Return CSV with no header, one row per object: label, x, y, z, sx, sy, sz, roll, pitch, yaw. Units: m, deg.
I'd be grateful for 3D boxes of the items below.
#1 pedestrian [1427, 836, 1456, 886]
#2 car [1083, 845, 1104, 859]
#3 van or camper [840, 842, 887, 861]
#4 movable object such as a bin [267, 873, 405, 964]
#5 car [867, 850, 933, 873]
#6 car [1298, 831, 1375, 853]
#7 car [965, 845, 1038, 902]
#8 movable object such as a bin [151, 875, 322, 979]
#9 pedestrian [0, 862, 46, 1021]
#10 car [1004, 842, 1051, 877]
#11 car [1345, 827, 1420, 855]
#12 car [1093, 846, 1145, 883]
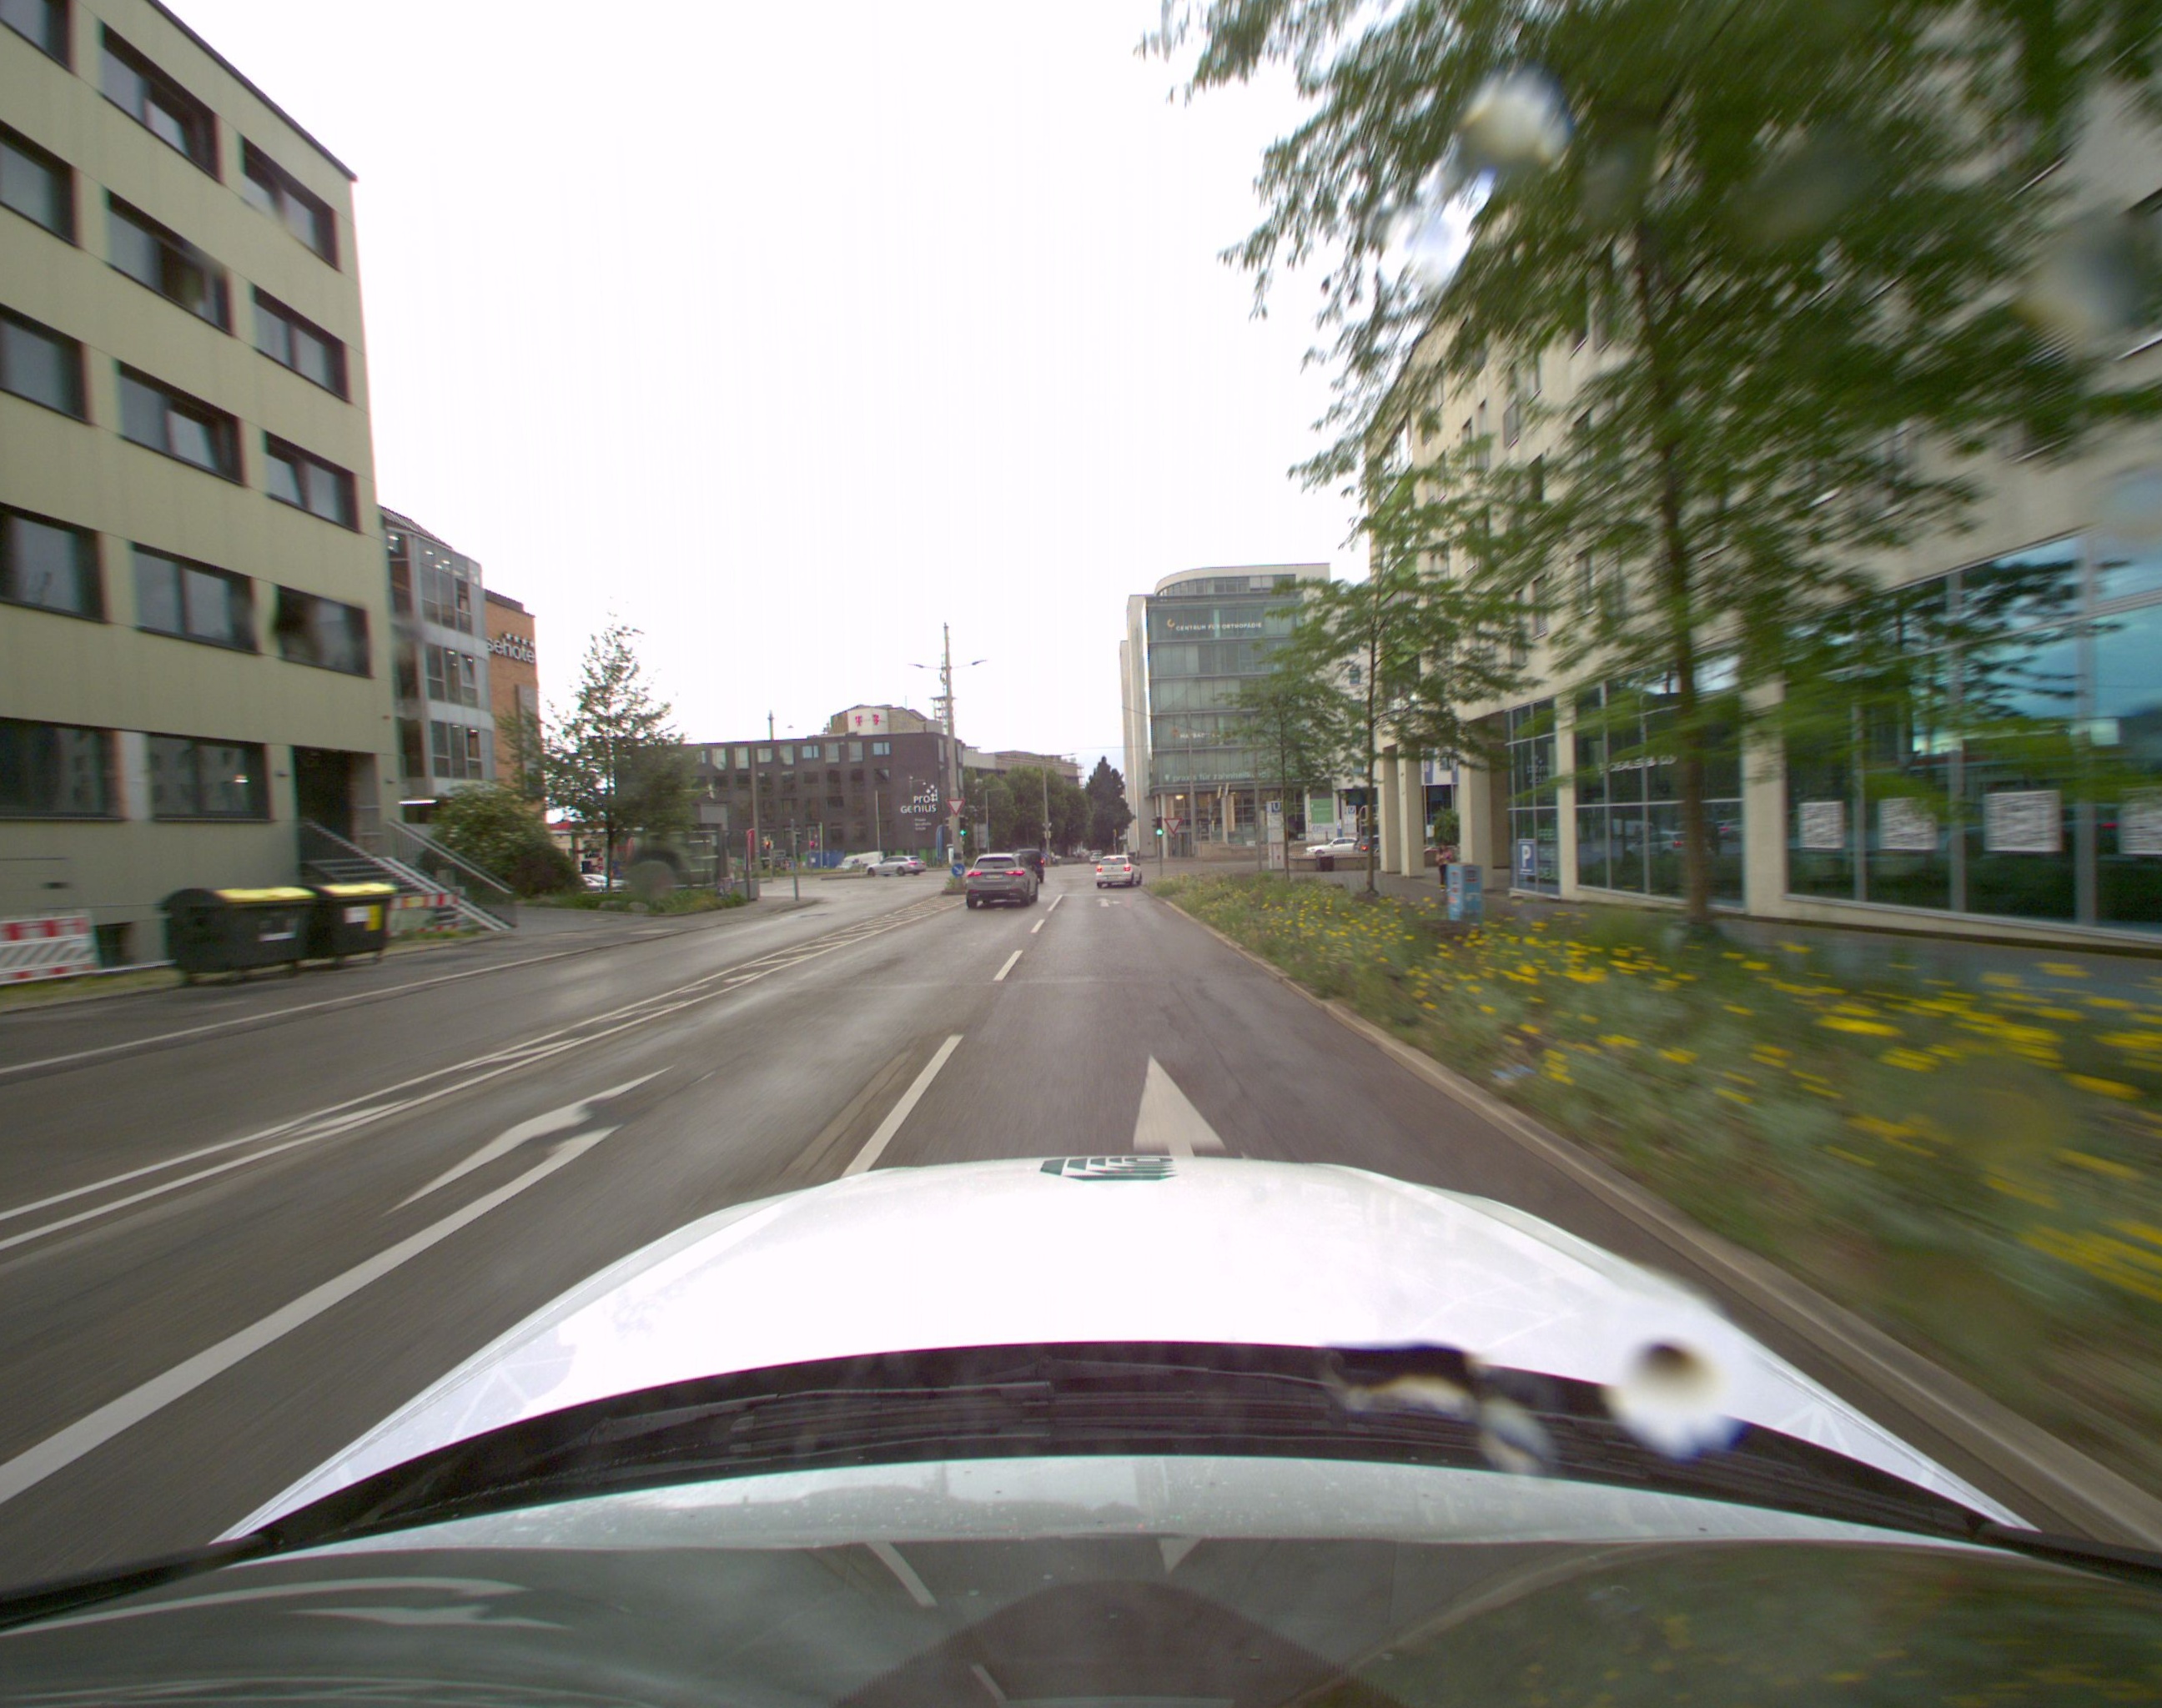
pedestrian,12.646,0.242,28.598,0.865,1.712,1.094,0,1,21
car,1.588,-0.236,104.050,1.993,1.717,3.987,0,0,-9
van or camper,-28.209,-0.352,105.733,5.313,2.369,2.738,0,-1,0
movable object such as a bin,-12.669,1.056,13.907,1.050,1.445,1.359,0,-1,3
car,-13.155,0.526,59.227,4.435,1.579,2.012,0,0,28
car,18.326,-0.855,58.456,4.932,1.387,1.823,-2,1,-1
car,-2.424,0.577,25.835,1.902,1.632,4.210,-1,0,0
movable object such as a bin,-12.733,1.055,12.353,1.050,1.445,1.431,0,-1,3
pedestrian,-12.181,0.959,8.808,0.752,1.732,0.943,0,-1,4
car,-3.003,0.285,45.034,1.855,1.768,4.111,-2,0,-14
car,19.071,-0.857,51.557,3.985,1.573,1.995,-2,2,-8
car,1.819,0.460,38.141,1.659,1.473,3.795,-2,2,14
